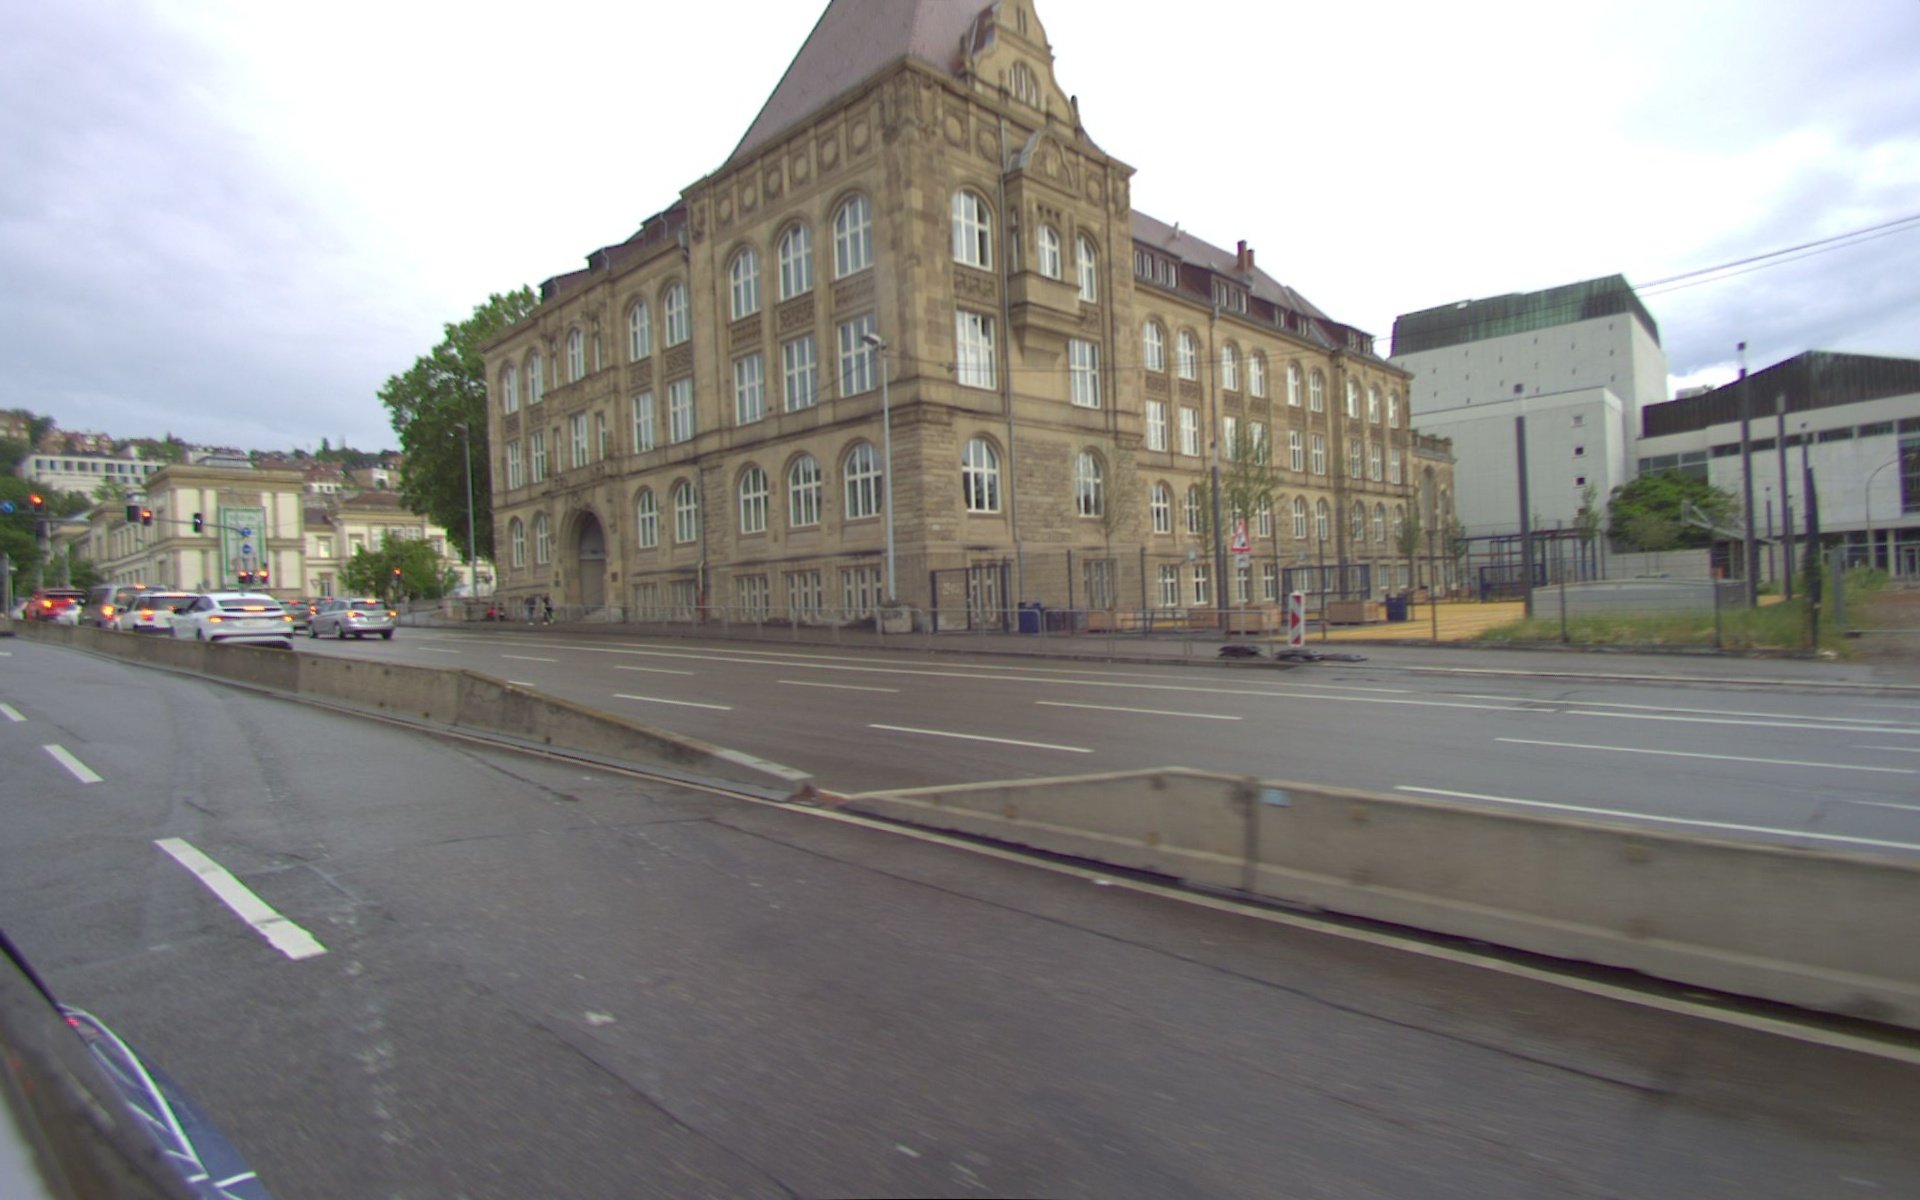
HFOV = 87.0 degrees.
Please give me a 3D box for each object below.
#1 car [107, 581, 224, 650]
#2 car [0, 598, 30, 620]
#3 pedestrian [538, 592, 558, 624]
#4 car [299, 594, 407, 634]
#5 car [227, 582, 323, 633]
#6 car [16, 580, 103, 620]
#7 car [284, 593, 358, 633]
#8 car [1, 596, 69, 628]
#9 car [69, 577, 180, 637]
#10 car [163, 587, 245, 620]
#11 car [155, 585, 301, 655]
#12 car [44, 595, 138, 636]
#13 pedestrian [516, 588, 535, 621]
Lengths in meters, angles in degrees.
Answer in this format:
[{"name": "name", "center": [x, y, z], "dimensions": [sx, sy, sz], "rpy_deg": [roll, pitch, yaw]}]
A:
[{"name": "car", "center": [-23.299, 0.433, 29.612], "dimensions": [4.376, 1.880, 1.889], "rpy_deg": [0, 0, 41]}, {"name": "car", "center": [-64.941, 0.578, 68.892], "dimensions": [4.559, 1.482, 1.973], "rpy_deg": [0, 0, 41]}, {"name": "pedestrian", "center": [-20.360, 0.394, 50.002], "dimensions": [0.733, 1.596, 0.611], "rpy_deg": [0, 0, 35]}, {"name": "car", "center": [-22.198, 0.491, 36.958], "dimensions": [4.205, 1.393, 1.975], "rpy_deg": [0, 0, 37]}, {"name": "car", "center": [-28.301, 0.289, 41.793], "dimensions": [3.990, 2.029, 1.977], "rpy_deg": [0, 0, 34]}, {"name": "car", "center": [-38.227, 0.005, 42.901], "dimensions": [5.377, 1.579, 1.974], "rpy_deg": [0, 0, 40]}, {"name": "car", "center": [-34.328, 0.677, 54.335], "dimensions": [3.990, 2.029, 1.977], "rpy_deg": [0, 0, 34]}, {"name": "car", "center": [-45.067, 0.577, 49.285], "dimensions": [4.559, 1.482, 1.973], "rpy_deg": [0, 0, 41]}, {"name": "car", "center": [-28.160, 0.215, 34.055], "dimensions": [5.592, 1.880, 1.973], "rpy_deg": [0, 0, 41]}, {"name": "car", "center": [-34.056, 0.157, 45.570], "dimensions": [4.207, 1.393, 1.974], "rpy_deg": [0, 0, 38]}, {"name": "car", "center": [-18.276, 0.448, 25.184], "dimensions": [4.895, 1.579, 1.874], "rpy_deg": [0, 0, 41]}, {"name": "car", "center": [-33.581, 0.565, 39.075], "dimensions": [4.818, 1.513, 1.973], "rpy_deg": [0, 0, 40]}, {"name": "pedestrian", "center": [-21.249, 0.222, 49.485], "dimensions": [0.735, 1.596, 0.610], "rpy_deg": [0, 0, 43]}]
